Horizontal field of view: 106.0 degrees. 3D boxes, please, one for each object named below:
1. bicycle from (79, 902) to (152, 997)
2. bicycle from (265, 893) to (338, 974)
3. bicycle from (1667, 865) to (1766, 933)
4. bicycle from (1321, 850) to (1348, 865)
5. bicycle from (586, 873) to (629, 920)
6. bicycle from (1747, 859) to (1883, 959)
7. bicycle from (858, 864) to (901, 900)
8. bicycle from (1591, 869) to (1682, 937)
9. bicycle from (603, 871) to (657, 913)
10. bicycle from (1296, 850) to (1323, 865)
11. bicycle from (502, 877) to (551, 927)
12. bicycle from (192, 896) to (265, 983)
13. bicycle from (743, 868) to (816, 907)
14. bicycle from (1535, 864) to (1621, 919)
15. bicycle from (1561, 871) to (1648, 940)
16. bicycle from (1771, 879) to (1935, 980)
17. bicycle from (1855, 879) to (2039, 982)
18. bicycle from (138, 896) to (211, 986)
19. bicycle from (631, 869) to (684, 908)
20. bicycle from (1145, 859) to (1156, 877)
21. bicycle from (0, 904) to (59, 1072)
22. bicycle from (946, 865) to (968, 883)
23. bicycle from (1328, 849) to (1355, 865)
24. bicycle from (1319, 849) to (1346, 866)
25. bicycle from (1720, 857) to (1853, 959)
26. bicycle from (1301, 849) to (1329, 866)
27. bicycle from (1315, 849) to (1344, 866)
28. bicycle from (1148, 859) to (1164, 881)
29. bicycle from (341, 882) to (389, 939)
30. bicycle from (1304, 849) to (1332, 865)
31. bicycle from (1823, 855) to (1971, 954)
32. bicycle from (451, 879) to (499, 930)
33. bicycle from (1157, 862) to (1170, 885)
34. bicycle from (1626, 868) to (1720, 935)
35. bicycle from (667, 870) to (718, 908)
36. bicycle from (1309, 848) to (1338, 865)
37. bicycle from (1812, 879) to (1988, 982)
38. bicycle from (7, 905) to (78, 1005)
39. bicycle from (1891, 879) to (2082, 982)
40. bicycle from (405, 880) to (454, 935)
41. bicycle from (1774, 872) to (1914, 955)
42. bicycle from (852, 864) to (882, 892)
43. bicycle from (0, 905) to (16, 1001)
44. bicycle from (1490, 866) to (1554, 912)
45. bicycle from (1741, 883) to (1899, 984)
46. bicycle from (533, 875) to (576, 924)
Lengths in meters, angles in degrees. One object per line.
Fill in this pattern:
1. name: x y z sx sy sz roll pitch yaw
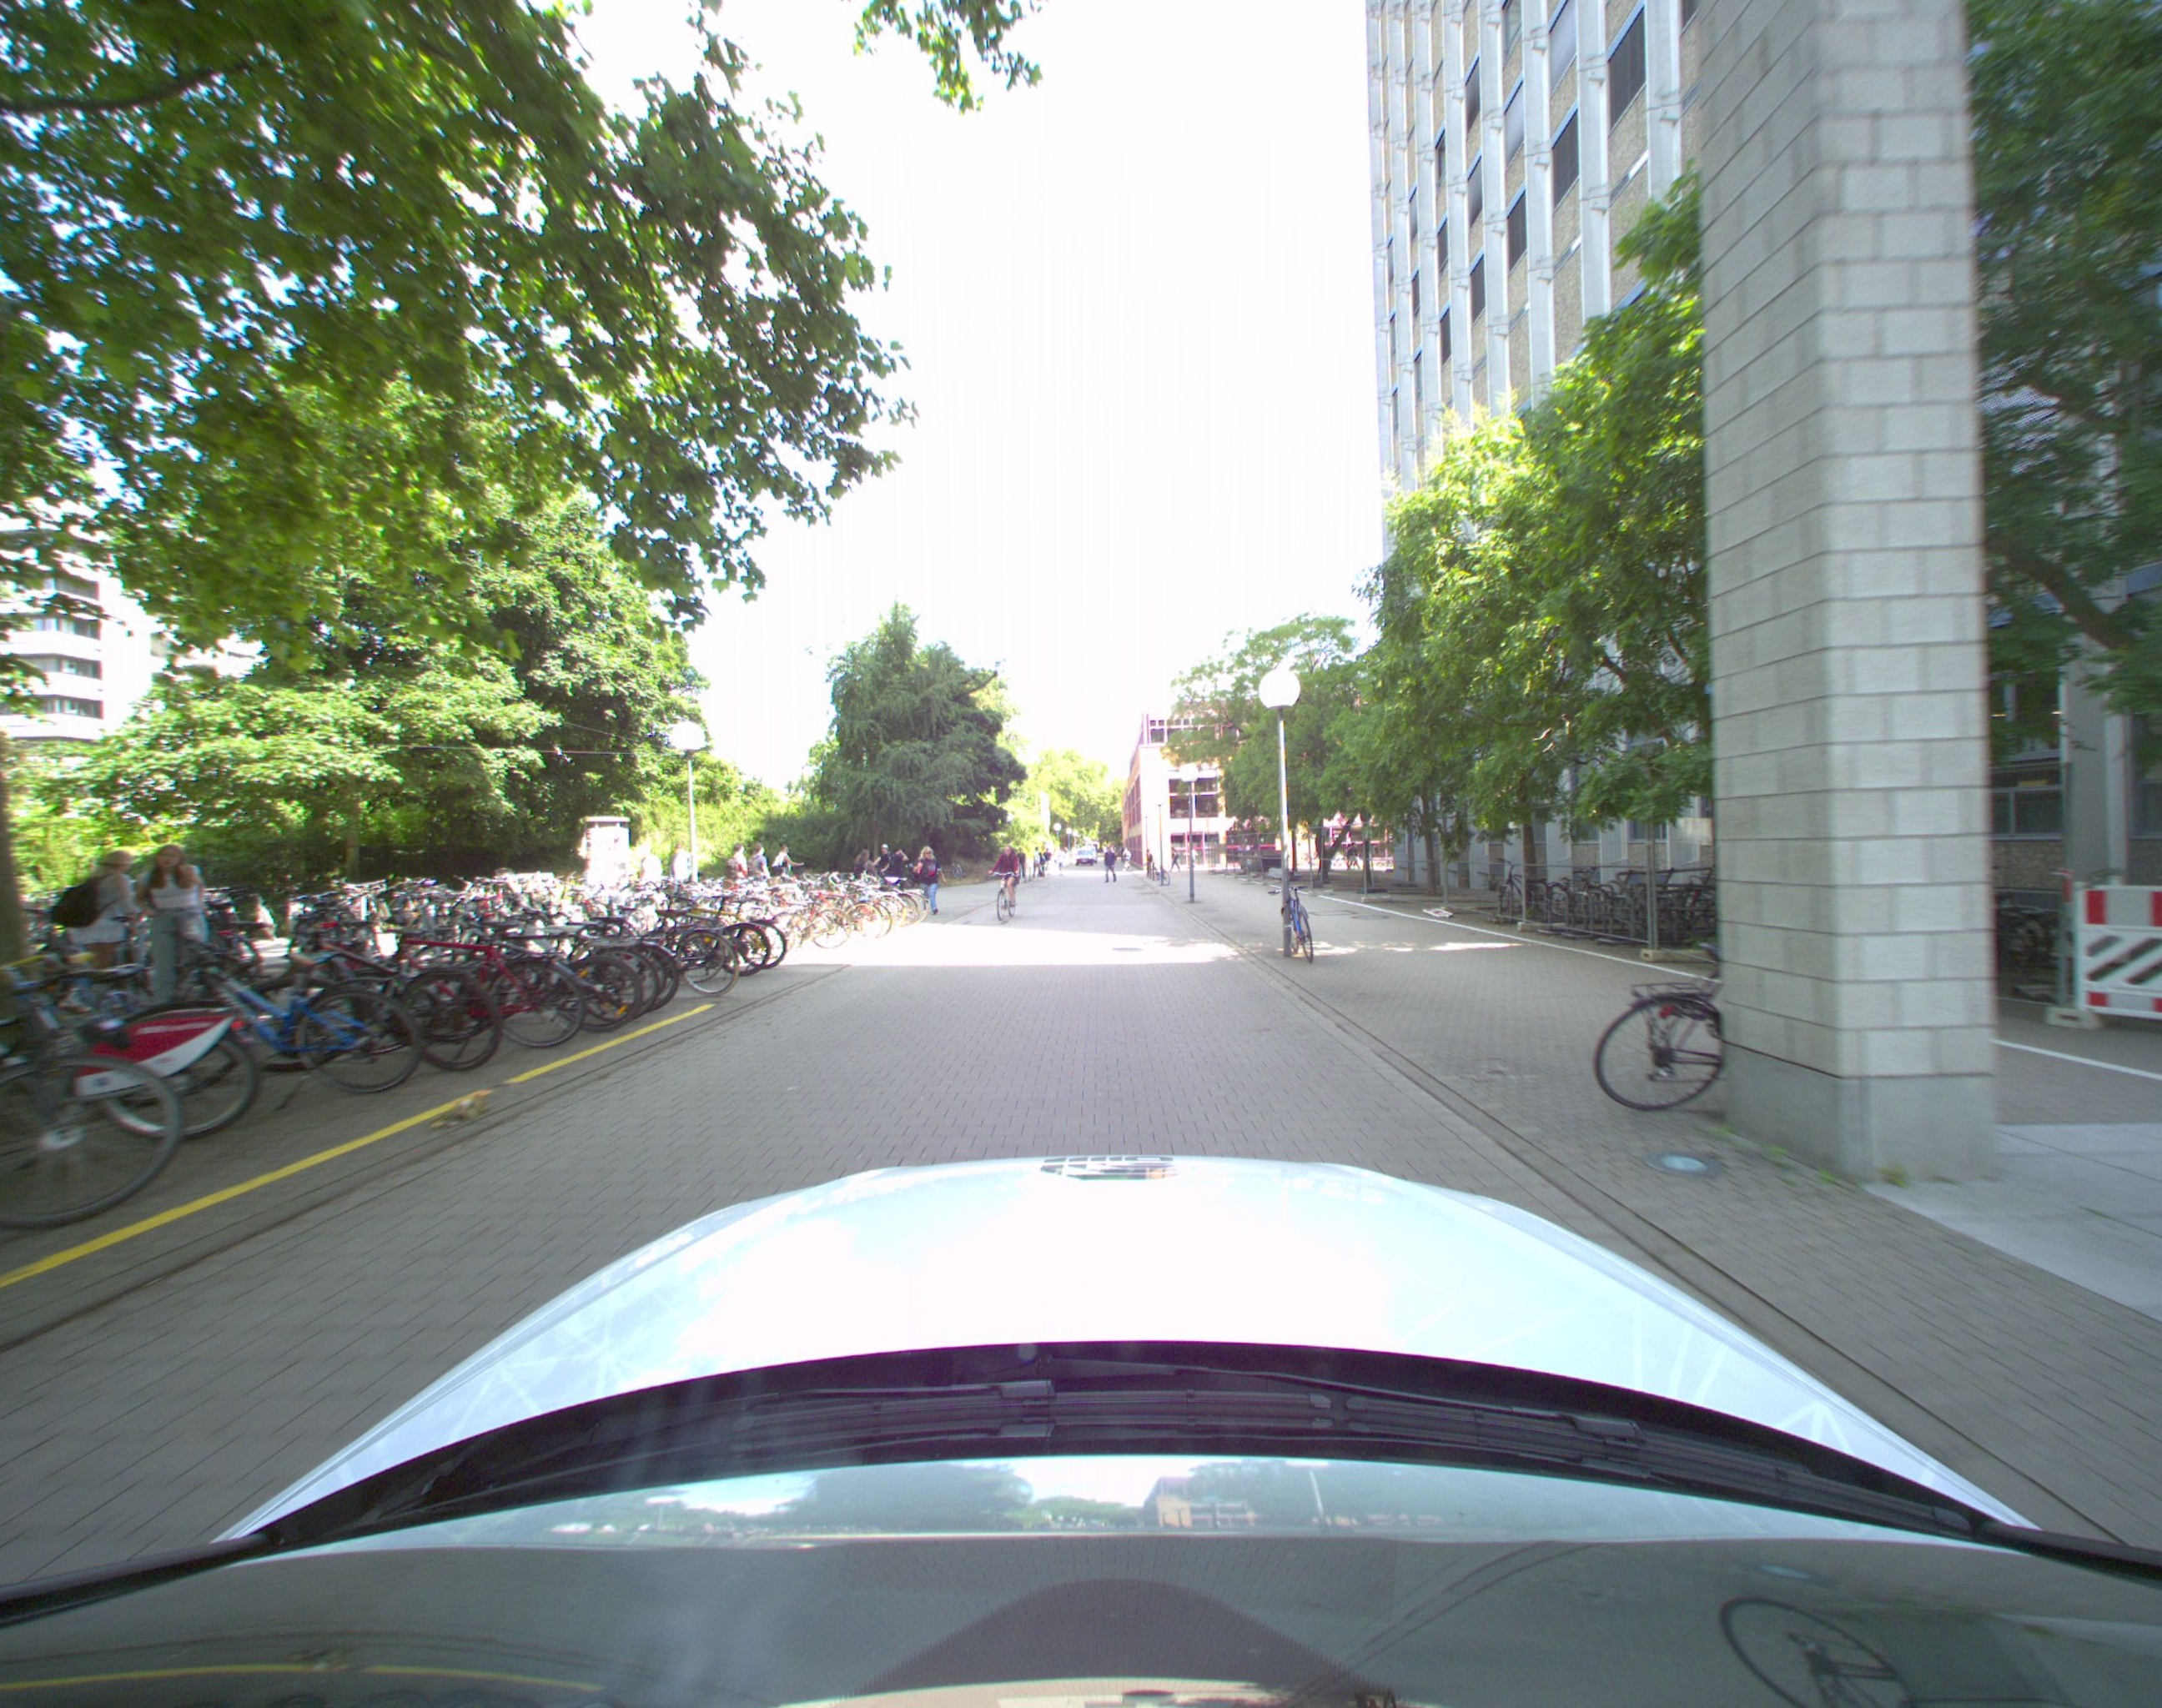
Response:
1. bicycle: -12.495 1.197 10.527 1.677 1.083 0.477 -1 0 36
2. bicycle: -11.441 1.130 11.937 1.677 1.083 0.477 -1 0 36
3. bicycle: 9.465 0.643 12.187 0.290 0.905 1.447 -2 0 -2
4. bicycle: 18.535 0.252 59.566 1.803 1.110 0.473 0 0 -5
5. bicycle: -11.807 1.039 20.290 1.756 1.110 0.477 -1 0 45
6. bicycle: 8.899 0.628 9.936 0.290 1.094 1.447 -2 0 -2
7. bicycle: -6.676 0.910 27.020 0.469 1.110 1.853 -1 0 17
8. bicycle: 8.194 0.700 12.065 0.290 0.905 1.447 -2 0 -2
9. bicycle: -12.709 1.058 22.925 1.755 1.110 0.477 -1 0 30
10. bicycle: 16.532 0.245 58.806 1.803 1.110 0.523 0 0 -1
11. bicycle: -13.115 1.104 19.244 1.755 1.110 0.477 -1 0 40
12. bicycle: -11.931 1.159 11.384 1.677 1.083 0.477 -1 0 36
13. bicycle: -8.578 0.931 23.165 1.911 1.047 0.538 -1 -1 -24
14. bicycle: 9.153 0.663 15.077 0.290 0.905 1.801 -2 0 -7
15. bicycle: 7.658 0.721 11.977 0.290 0.905 1.447 -2 0 -2
16. bicycle: 8.019 0.747 8.533 0.290 0.905 1.447 -2 0 -2
17. bicycle: 8.824 0.740 8.373 0.290 0.905 1.447 -2 0 -2
18. bicycle: -12.211 1.133 10.954 1.677 1.083 0.477 -1 0 36
19. bicycle: -12.343 0.995 23.735 1.755 1.110 0.477 -1 0 30
20. bicycle: 3.984 0.775 46.992 0.449 0.962 1.740 -4 0 1
21. bicycle: -8.455 1.025 6.125 0.578 1.199 1.680 -1 0 -38
22. bicycle: -6.429 1.037 42.261 0.418 0.910 1.747 -1 -1 17
23. bicycle: 18.632 0.192 58.327 1.803 1.110 0.473 0 0 -5
24. bicycle: 16.464 0.245 53.327 1.686 1.110 0.475 0 0 4
25. bicycle: 8.507 0.606 9.888 0.290 1.128 1.447 -2 0 -2
26. bicycle: 16.365 0.242 56.939 1.804 1.110 0.523 0 0 -2
27. bicycle: 16.623 0.236 54.448 1.801 1.110 0.524 0 0 5
28. bicycle: 3.825 0.799 41.598 0.706 1.093 1.749 -1 0 1
29. bicycle: -14.917 1.153 16.946 1.755 1.110 0.477 -1 0 40
30. bicycle: 16.262 0.219 55.972 1.801 1.110 0.524 0 0 4
31. bicycle: 9.887 0.569 9.938 0.290 1.099 1.447 -2 0 -2
32. bicycle: -13.940 1.139 18.720 1.755 1.110 0.477 -1 0 40
33. bicycle: 3.614 0.850 35.679 0.394 0.936 1.732 -4 0 1
34. bicycle: 8.793 0.678 12.151 0.290 0.905 1.447 -2 0 -2
35. bicycle: -11.764 1.044 24.650 1.755 1.110 0.477 -1 0 30
36. bicycle: 16.434 0.184 55.113 1.803 1.110 0.524 0 0 0
37. bicycle: 8.365 0.743 8.394 0.290 0.905 1.447 -2 0 -2
38. bicycle: -12.823 1.207 10.046 1.677 1.083 0.477 -1 0 36
39. bicycle: 9.231 0.738 8.378 0.290 0.905 1.447 -2 0 -2
40. bicycle: -14.192 1.134 17.721 1.755 1.110 0.477 -1 0 40
41. bicycle: 9.249 0.693 9.941 0.290 0.887 1.447 -2 0 -2
42. bicycle: -8.536 0.948 32.440 0.476 1.047 1.680 -1 0 -40
43. bicycle: -13.428 1.195 9.940 1.677 1.083 0.477 -1 0 36
44. bicycle: 9.286 0.717 17.213 0.290 0.905 1.615 -2 0 -7
45. bicycle: 7.684 0.789 8.546 0.290 0.905 1.447 -2 0 -2
46. bicycle: -12.683 1.077 19.602 1.756 1.110 0.477 -1 0 45
